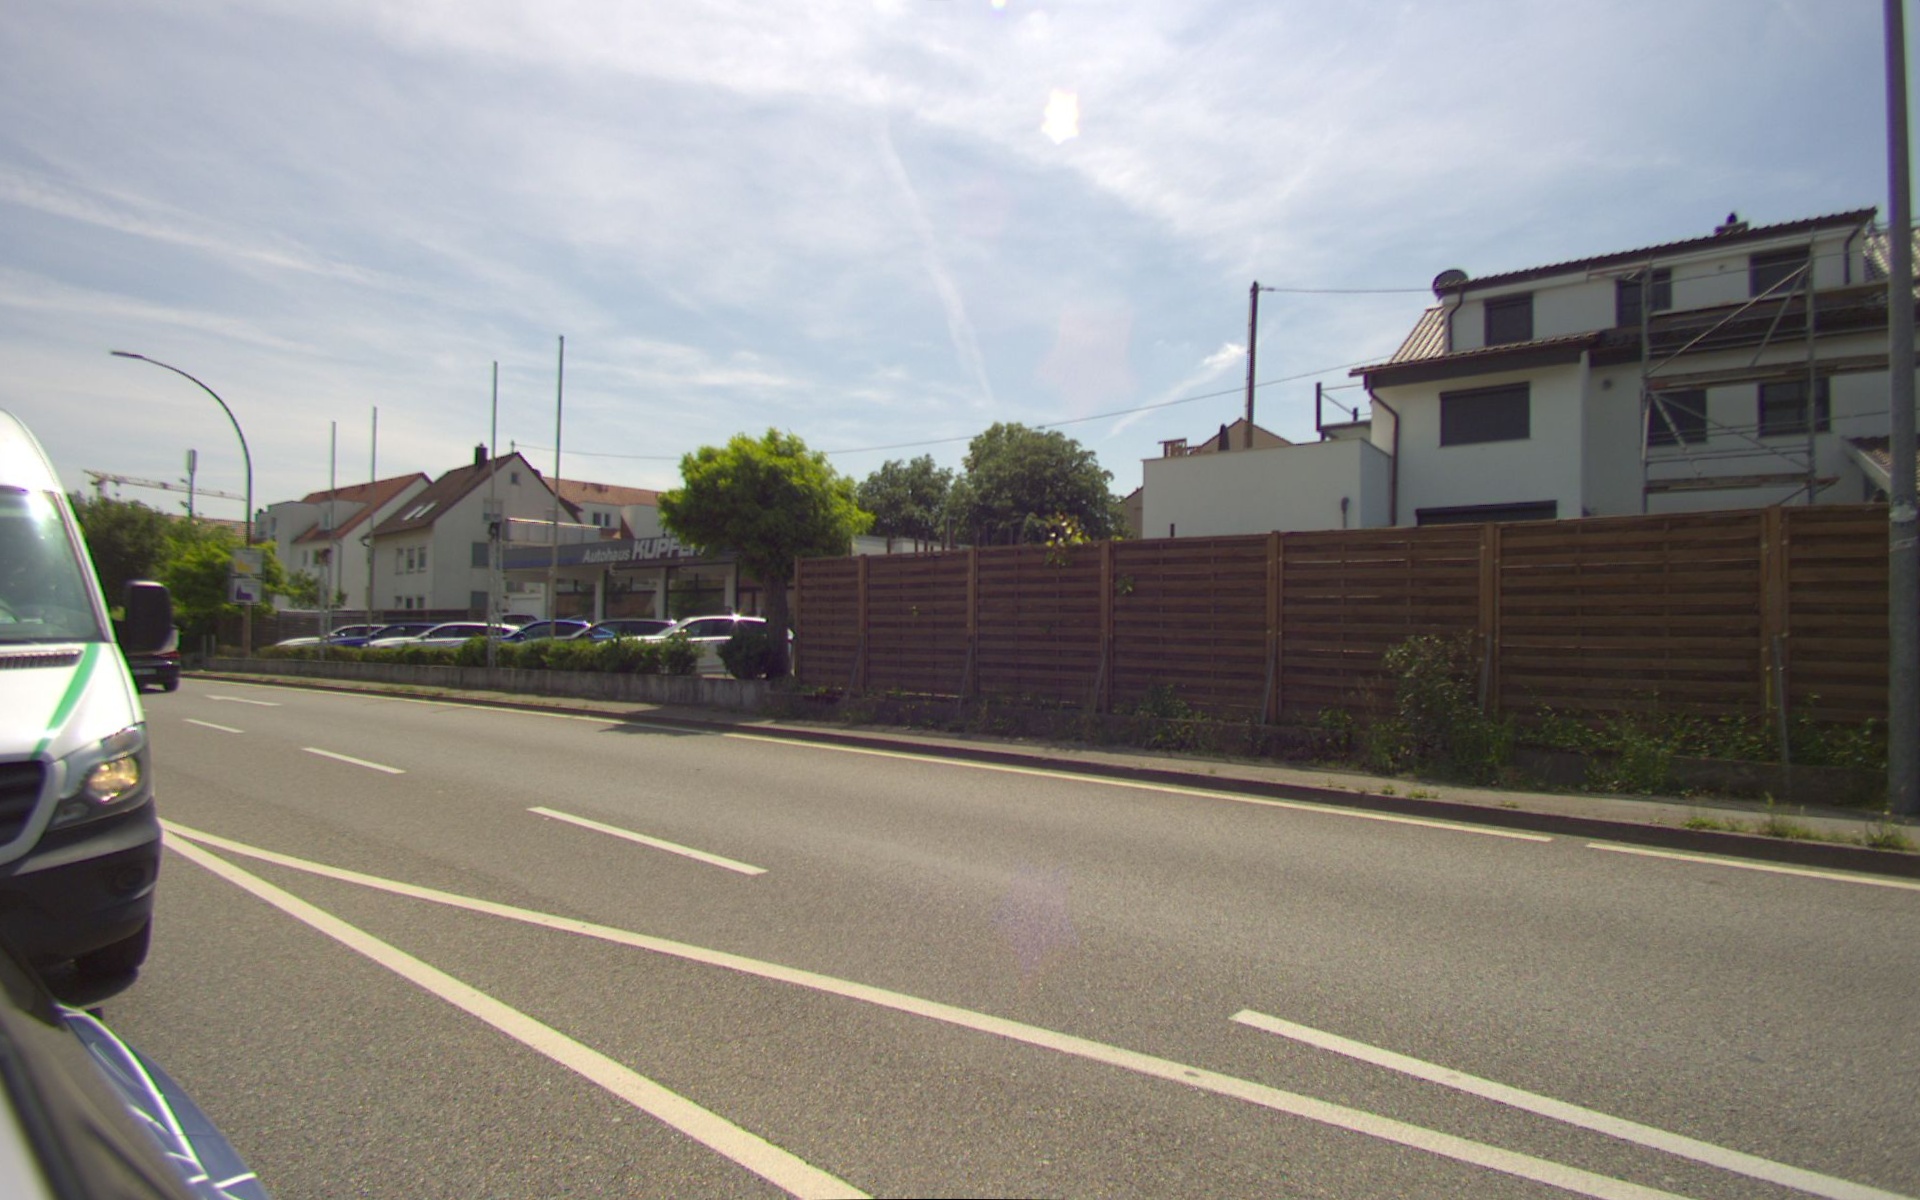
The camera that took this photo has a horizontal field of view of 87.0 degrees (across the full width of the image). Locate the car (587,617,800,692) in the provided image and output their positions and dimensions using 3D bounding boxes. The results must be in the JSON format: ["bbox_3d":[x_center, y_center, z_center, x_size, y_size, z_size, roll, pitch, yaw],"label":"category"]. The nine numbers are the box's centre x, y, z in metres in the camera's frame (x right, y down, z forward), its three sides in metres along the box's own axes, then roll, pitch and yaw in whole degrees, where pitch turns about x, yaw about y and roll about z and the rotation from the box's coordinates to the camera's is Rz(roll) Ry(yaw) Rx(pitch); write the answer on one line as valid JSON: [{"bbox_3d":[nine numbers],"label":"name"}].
[{"bbox_3d":[-5.877,1.141,22.363,4.264,1.471,1.861,0,-1,-26],"label":"car"}]

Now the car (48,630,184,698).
[{"bbox_3d":[-20.045,1.461,23.972,4.612,1.428,1.796,-2,-2,41],"label":"car"}]

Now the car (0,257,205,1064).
[{"bbox_3d":[-5.551,0.260,4.753,5.628,2.619,1.953,-2,-1,40],"label":"car"}]

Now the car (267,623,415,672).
[{"bbox_3d":[-21.486,1.618,35.343,4.192,1.541,2.006,-1,-1,-24],"label":"car"}]

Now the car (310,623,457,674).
[{"bbox_3d":[-18.537,1.516,32.750,3.930,1.475,2.006,-1,-1,-24],"label":"car"}]

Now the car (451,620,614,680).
[{"bbox_3d":[-11.535,1.304,27.377,3.931,1.453,1.860,-1,-1,-25],"label":"car"}]

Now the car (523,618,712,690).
[{"bbox_3d":[-8.451,1.275,25.021,4.187,1.557,1.856,-1,-1,-27],"label":"car"}]

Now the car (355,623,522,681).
[{"bbox_3d":[-15.271,1.485,29.906,4.238,1.530,2.006,-1,-1,-23],"label":"car"}]
